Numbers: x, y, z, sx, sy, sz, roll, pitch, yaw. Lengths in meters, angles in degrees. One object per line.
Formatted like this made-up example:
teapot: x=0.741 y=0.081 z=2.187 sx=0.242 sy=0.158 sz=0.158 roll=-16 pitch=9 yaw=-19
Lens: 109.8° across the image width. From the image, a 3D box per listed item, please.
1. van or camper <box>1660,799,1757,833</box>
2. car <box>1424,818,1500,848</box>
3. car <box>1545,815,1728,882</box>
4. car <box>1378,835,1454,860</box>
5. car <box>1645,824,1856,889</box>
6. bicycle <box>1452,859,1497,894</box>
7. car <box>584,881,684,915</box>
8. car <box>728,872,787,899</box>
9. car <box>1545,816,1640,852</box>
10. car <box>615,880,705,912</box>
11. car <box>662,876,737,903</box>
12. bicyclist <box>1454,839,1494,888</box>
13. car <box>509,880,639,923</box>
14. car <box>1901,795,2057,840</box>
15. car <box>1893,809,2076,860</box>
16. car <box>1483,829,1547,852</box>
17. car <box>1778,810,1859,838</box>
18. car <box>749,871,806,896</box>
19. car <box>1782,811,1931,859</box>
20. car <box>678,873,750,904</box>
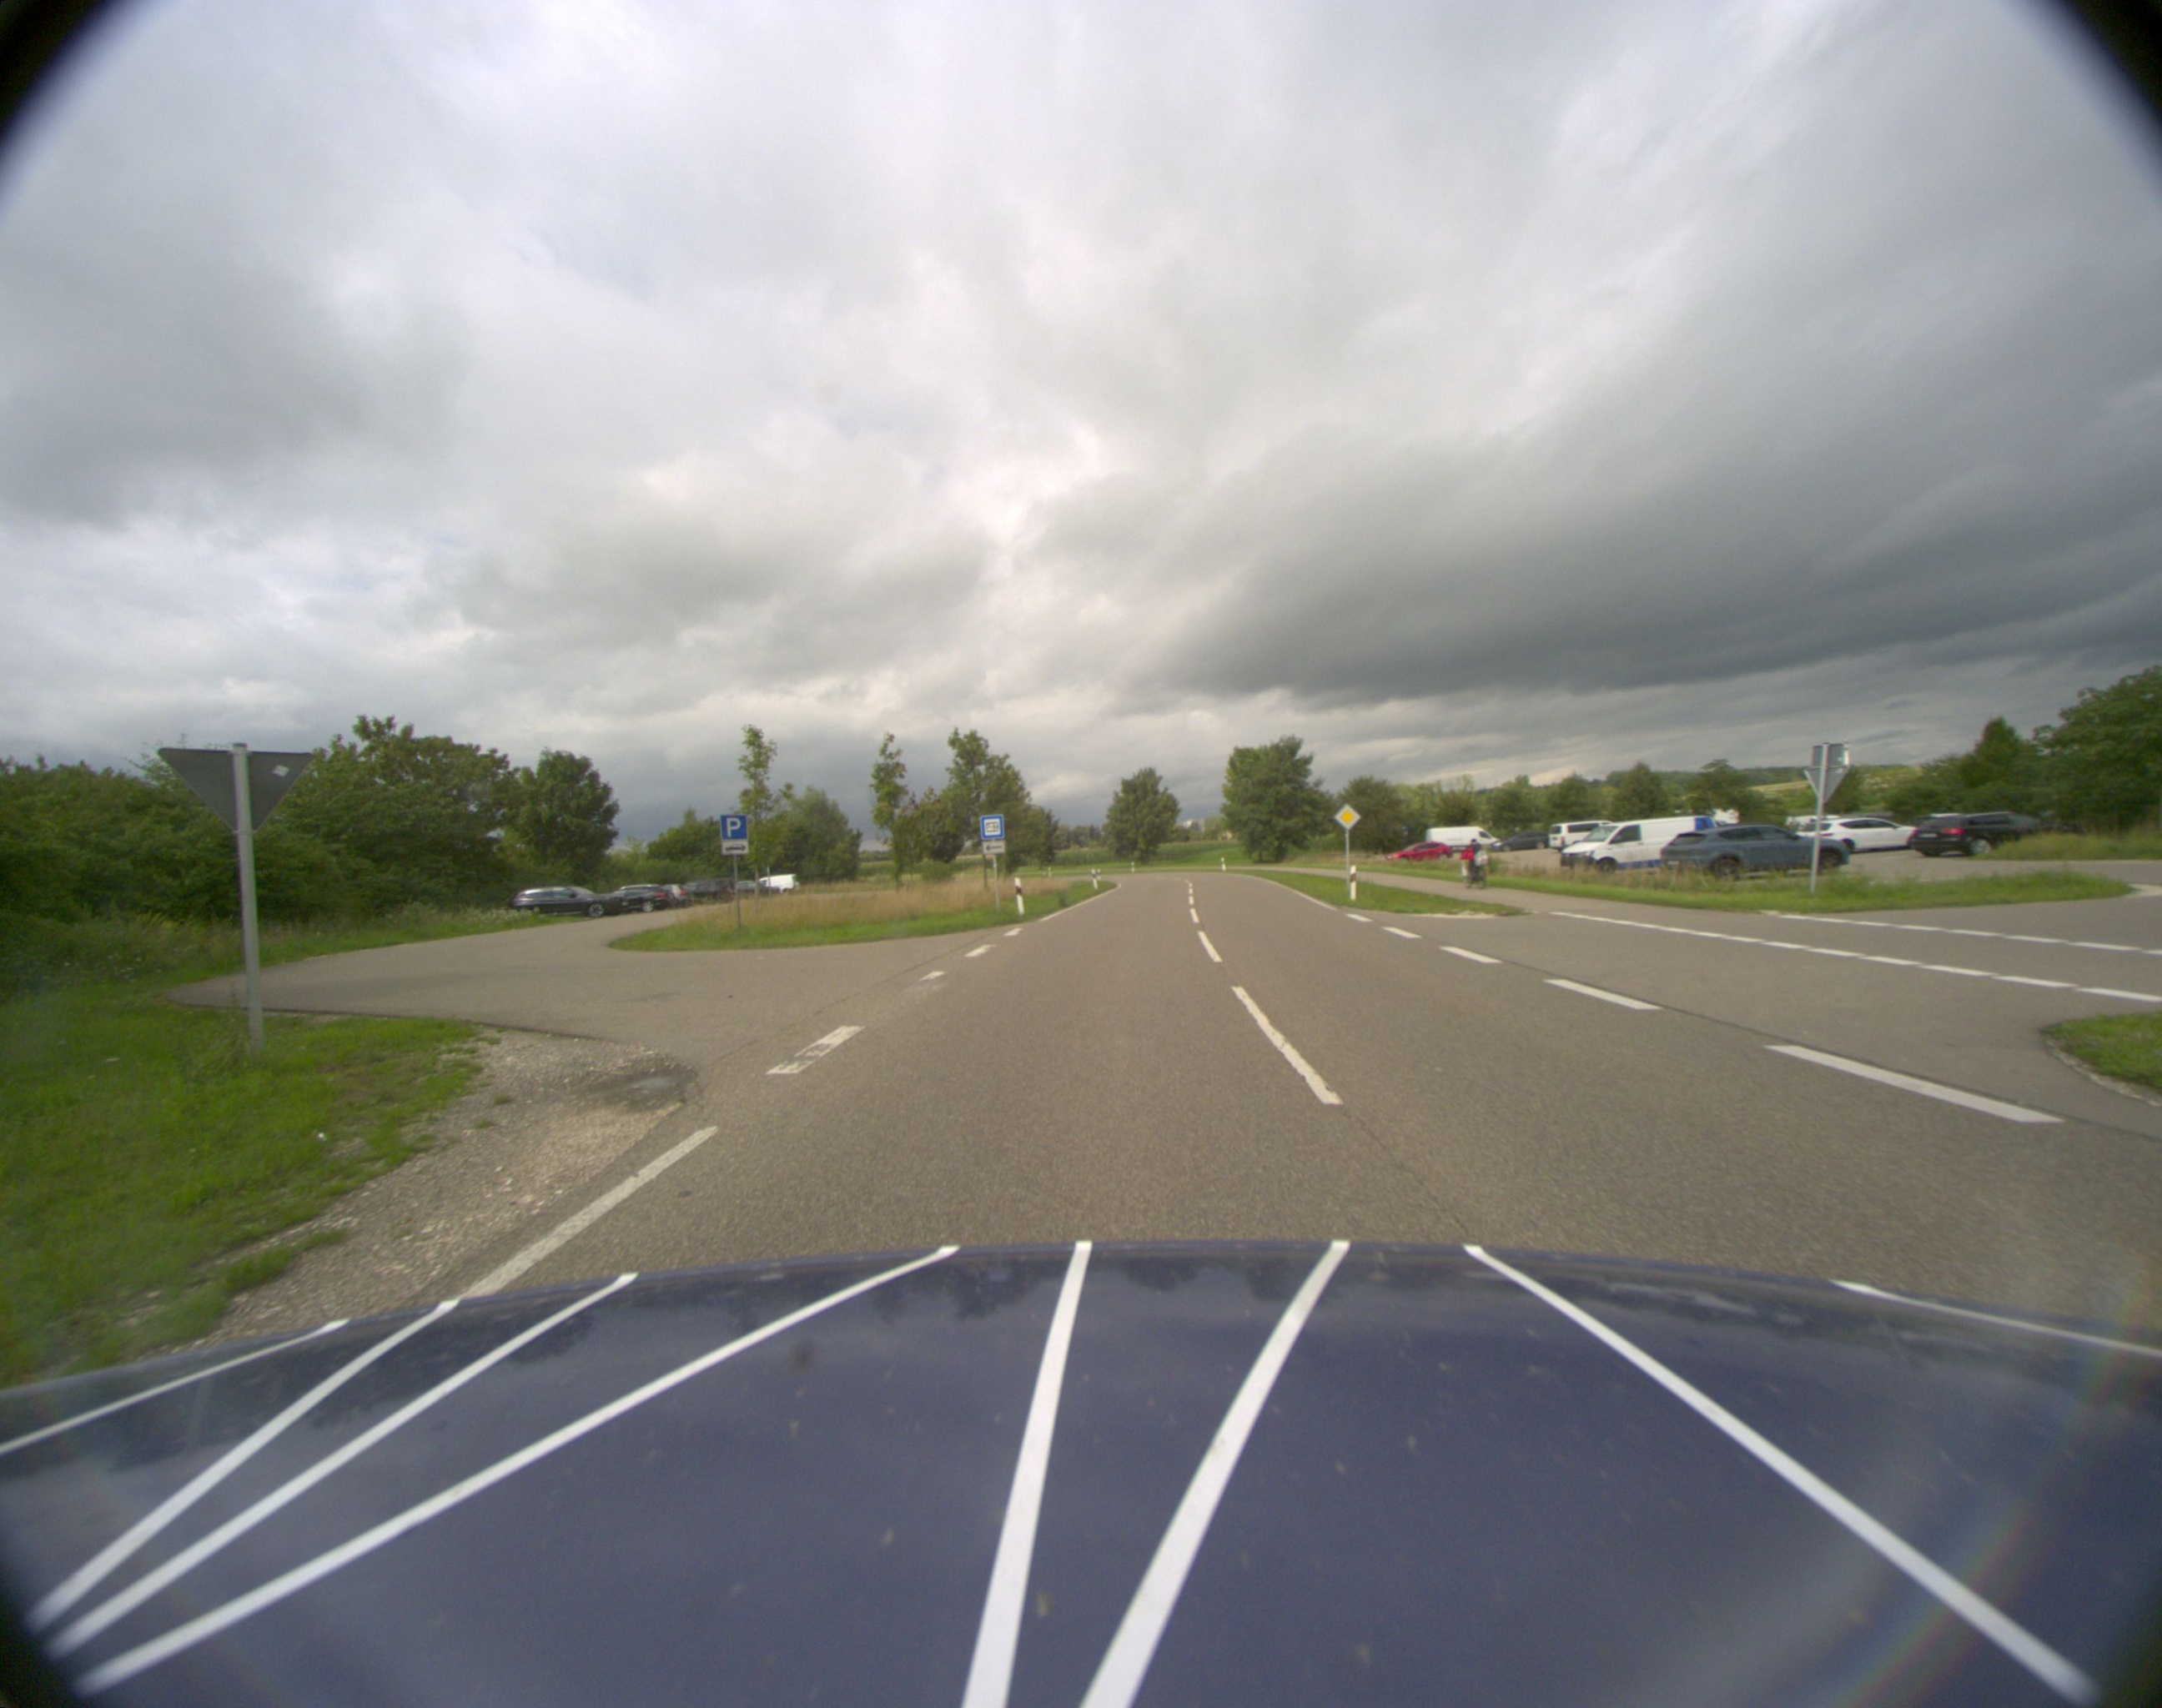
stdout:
van or camper: x=54.347 y=-3.239 z=65.959 sx=6.041 sy=2.333 sz=2.287 roll=-5 pitch=1 yaw=9
car: x=38.443 y=-2.087 z=76.808 sx=6.328 sy=2.604 sz=2.202 roll=-4 pitch=0 yaw=7
car: x=19.893 y=-0.193 z=27.423 sx=4.904 sy=2.002 sz=2.057 roll=-4 pitch=0 yaw=6
car: x=22.954 y=-0.464 z=52.177 sx=4.373 sy=1.408 sz=1.814 roll=-4 pitch=0 yaw=6
car: x=19.680 y=0.076 z=22.514 sx=4.256 sy=1.585 sz=2.001 roll=-4 pitch=0 yaw=7
bicycle: x=13.092 y=0.724 z=25.347 sx=0.637 sy=1.026 sz=2.192 roll=-3 pitch=0 yaw=9
car: x=-24.074 y=2.350 z=41.066 sx=4.166 sy=1.406 sz=1.998 roll=-3 pitch=0 yaw=-10
car: x=-26.287 y=2.542 z=61.817 sx=3.999 sy=1.849 sz=1.743 roll=-3 pitch=1 yaw=-7
car: x=33.986 y=-1.297 z=50.607 sx=4.691 sy=1.914 sz=2.062 roll=-5 pitch=0 yaw=5
car: x=-24.602 y=2.429 z=44.546 sx=4.008 sy=1.496 sz=2.051 roll=-3 pitch=0 yaw=-4
car: x=-25.203 y=2.324 z=50.338 sx=4.000 sy=1.488 sz=1.998 roll=-3 pitch=0 yaw=-10
bicyclist: x=13.074 y=0.301 z=25.312 sx=0.832 sy=1.556 sz=1.056 roll=-3 pitch=1 yaw=10
car: x=-23.347 y=2.145 z=35.146 sx=4.493 sy=1.572 sz=1.998 roll=-3 pitch=0 yaw=-10
car: x=36.601 y=-1.467 z=31.134 sx=3.784 sy=1.517 sz=1.780 roll=-4 pitch=0 yaw=38
car: x=30.831 y=-0.643 z=26.016 sx=3.997 sy=1.379 sz=1.842 roll=-5 pitch=0 yaw=0
car: x=34.790 y=-1.049 z=60.996 sx=3.996 sy=1.516 sz=1.794 roll=-4 pitch=0 yaw=5
car: x=48.793 y=-1.959 z=50.369 sx=1.996 sy=1.613 sz=4.455 roll=-4 pitch=0 yaw=17
car: x=-25.922 y=2.516 z=64.992 sx=3.999 sy=1.849 sz=1.999 roll=-3 pitch=1 yaw=-7
car: x=31.436 y=-0.753 z=30.885 sx=3.997 sy=1.543 sz=1.965 roll=-5 pitch=0 yaw=0
car: x=-25.691 y=2.391 z=53.249 sx=3.999 sy=1.849 sz=1.999 roll=-3 pitch=1 yaw=-7
